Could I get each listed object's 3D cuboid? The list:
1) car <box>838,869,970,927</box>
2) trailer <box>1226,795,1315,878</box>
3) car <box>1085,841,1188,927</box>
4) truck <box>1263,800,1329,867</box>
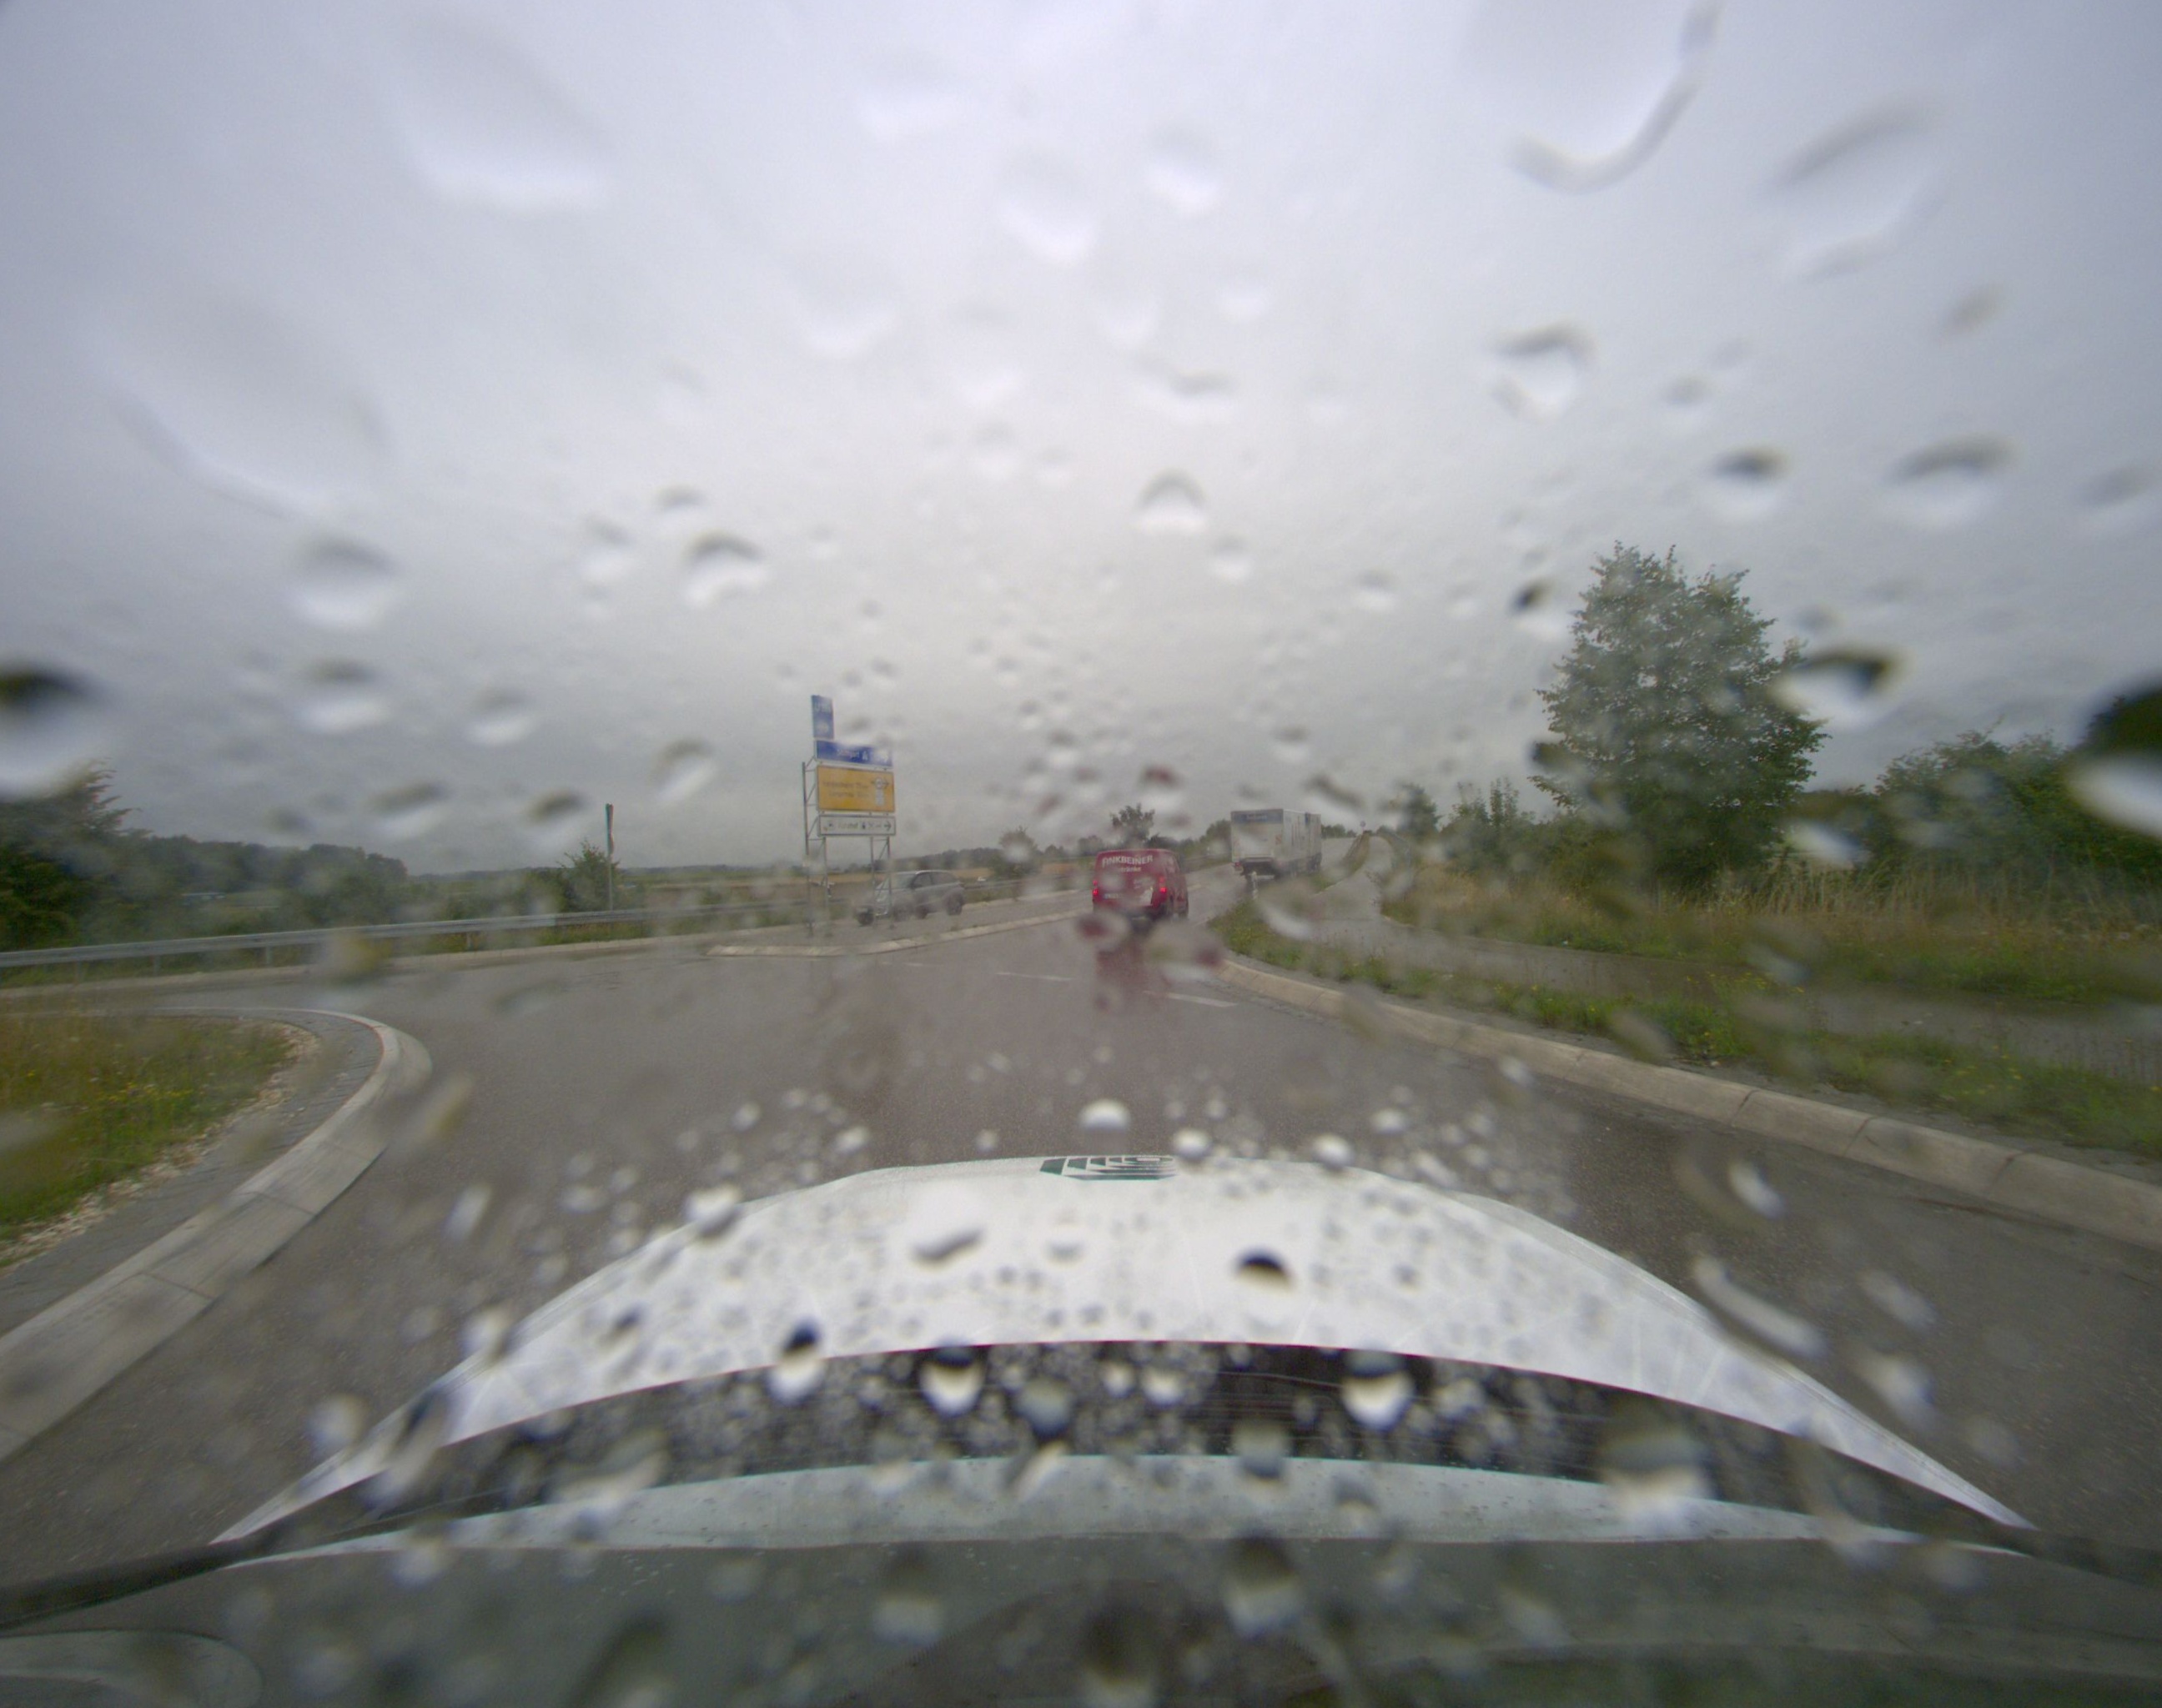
[{"bbox_3d":[-5.629,1.359,26.350,1.783,1.575,4.026,-2,0,33],"label":"car"},{"bbox_3d":[10.286,-0.937,43.254,2.807,3.818,9.769,-3,0,23],"label":"trailer"},{"bbox_3d":[1.608,0.667,21.466,1.981,1.870,4.994,-3,1,11],"label":"car"},{"bbox_3d":[13.675,-1.276,51.332,2.775,3.818,7.732,-3,0,23],"label":"truck"}]
